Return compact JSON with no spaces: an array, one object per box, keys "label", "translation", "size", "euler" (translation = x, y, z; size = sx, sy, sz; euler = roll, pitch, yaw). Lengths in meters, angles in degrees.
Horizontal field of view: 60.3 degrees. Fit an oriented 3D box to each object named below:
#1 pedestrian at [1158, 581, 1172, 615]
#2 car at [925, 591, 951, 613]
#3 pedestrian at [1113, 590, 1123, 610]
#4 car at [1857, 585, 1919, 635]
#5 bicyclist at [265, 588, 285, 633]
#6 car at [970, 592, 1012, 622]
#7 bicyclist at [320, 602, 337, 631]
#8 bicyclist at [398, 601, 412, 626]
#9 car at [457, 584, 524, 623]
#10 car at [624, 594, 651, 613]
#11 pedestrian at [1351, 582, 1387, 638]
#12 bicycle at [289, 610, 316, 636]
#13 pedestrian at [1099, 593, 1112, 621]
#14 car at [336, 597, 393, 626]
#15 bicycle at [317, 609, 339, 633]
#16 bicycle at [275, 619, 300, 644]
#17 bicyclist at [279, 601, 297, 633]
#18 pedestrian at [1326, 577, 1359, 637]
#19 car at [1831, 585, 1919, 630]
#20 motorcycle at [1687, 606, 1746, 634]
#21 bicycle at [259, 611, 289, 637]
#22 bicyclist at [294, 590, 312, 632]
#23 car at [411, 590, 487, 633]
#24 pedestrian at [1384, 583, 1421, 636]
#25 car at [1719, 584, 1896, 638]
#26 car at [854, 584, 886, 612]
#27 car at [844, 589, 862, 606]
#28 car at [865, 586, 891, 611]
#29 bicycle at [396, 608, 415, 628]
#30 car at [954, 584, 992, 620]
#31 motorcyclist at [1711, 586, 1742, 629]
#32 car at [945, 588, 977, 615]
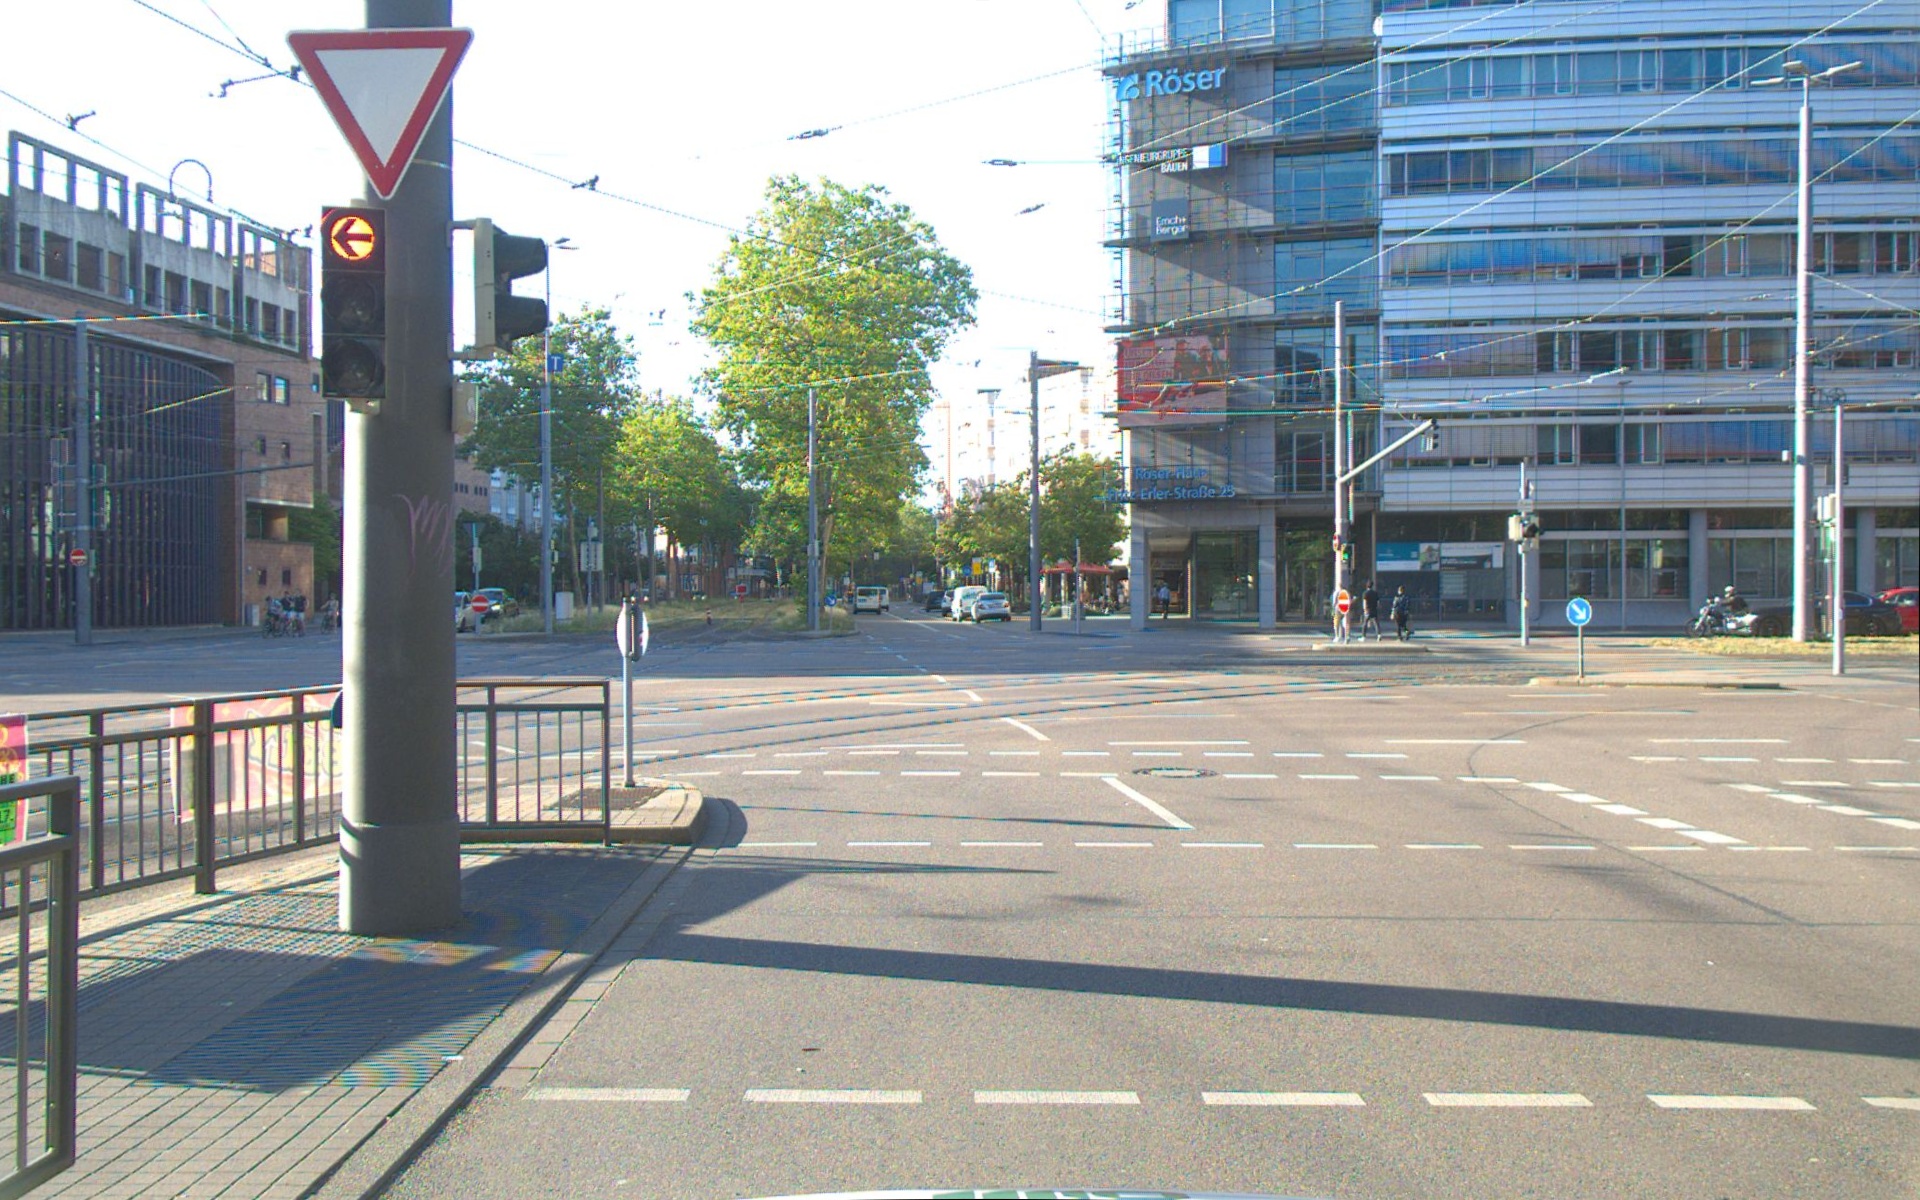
[{"label":"pedestrian","translation":[9.390,-0.086,75.682],"size":[0.599,1.534,0.579],"euler":[-1,0,10]},{"label":"car","translation":[-1.678,0.129,126.637],"size":[1.953,1.646,3.999],"euler":[-1,0,-1]},{"label":"pedestrian","translation":[10.513,-0.015,110.157],"size":[0.565,1.311,0.910],"euler":[-1,0,-1]},{"label":"car","translation":[29.294,0.239,49.500],"size":[3.903,1.418,1.786],"euler":[-2,0,4]},{"label":"bicyclist","translation":[-26.827,0.400,64.772],"size":[0.525,1.761,0.581],"euler":[-1,0,-1]},{"label":"car","translation":[1.535,0.335,82.791],"size":[1.953,1.400,3.999],"euler":[-1,0,-1]},{"label":"bicyclist","translation":[-27.119,0.707,71.025],"size":[0.495,1.199,0.581],"euler":[-1,0,-1]},{"label":"bicyclist","translation":[-27.614,0.672,82.341],"size":[0.495,1.232,0.581],"euler":[-1,0,-1]},{"label":"car","translation":[-21.122,0.145,74.599],"size":[1.953,1.668,3.999],"euler":[-1,0,-2]},{"label":"car","translation":[-32.377,0.301,166.094],"size":[1.953,1.847,3.999],"euler":[-1,0,-1]},{"label":"pedestrian","translation":[12.714,0.311,51.423],"size":[0.893,1.714,1.035],"euler":[-1,0,4]},{"label":"bicycle","translation":[-25.924,0.914,65.220],"size":[0.463,0.980,1.575],"euler":[-1,0,-1]},{"label":"pedestrian","translation":[9.243,0.435,105.172],"size":[0.729,1.744,0.612],"euler":[-1,0,-1]},{"label":"car","translation":[-31.139,0.602,86.606],"size":[1.633,1.461,3.999],"euler":[-1,0,-2]},{"label":"bicycle","translation":[-27.128,0.895,70.998],"size":[0.442,0.980,1.347],"euler":[-1,0,-1]},{"label":"bicycle","translation":[-27.704,1.281,68.146],"size":[0.458,0.980,1.320],"euler":[-1,0,-1]},{"label":"bicyclist","translation":[-27.685,0.703,68.122],"size":[0.495,1.327,0.581],"euler":[-1,0,-1]},{"label":"pedestrian","translation":[11.673,0.208,50.466],"size":[0.845,1.820,0.872],"euler":[-1,0,6]},{"label":"car","translation":[31.366,0.237,54.809],"size":[4.070,1.423,1.786],"euler":[-1,0,4]},{"label":"motorcycle","translation":[22.827,0.607,49.933],"size":[1.535,0.824,0.467],"euler":[-1,0,3]},{"label":"bicycle","translation":[-26.826,0.938,64.685],"size":[0.531,0.980,1.586],"euler":[-1,0,-1]},{"label":"bicyclist","translation":[-25.904,0.440,65.212],"size":[0.449,1.631,0.581],"euler":[-1,0,-1]},{"label":"car","translation":[-20.669,0.445,67.040],"size":[1.953,1.668,3.999],"euler":[-1,0,-2]},{"label":"pedestrian","translation":[13.653,0.287,51.074],"size":[0.928,1.591,0.897],"euler":[-1,0,4]},{"label":"car","translation":[24.042,0.300,47.030],"size":[4.070,1.423,1.786],"euler":[-1,0,4]},{"label":"car","translation":[-6.168,-0.167,113.515],"size":[1.921,1.881,5.329],"euler":[-1,0,-1]},{"label":"car","translation":[-12.588,-0.298,194.917],"size":[1.953,2.049,3.999],"euler":[-1,0,-1]},{"label":"car","translation":[-6.536,-0.153,132.606],"size":[1.953,1.945,3.999],"euler":[-1,0,-1]},{"label":"bicycle","translation":[-27.613,0.881,82.398],"size":[0.482,0.980,1.486],"euler":[-1,0,-1]},{"label":"car","translation":[0.687,0.115,89.577],"size":[1.953,1.892,3.999],"euler":[-1,0,-1]},{"label":"motorcyclist","translation":[23.108,0.220,49.861],"size":[0.697,1.298,0.460],"euler":[-1,0,3]},{"label":"car","translation":[0.036,0.069,105.214],"size":[1.953,1.646,3.999],"euler":[-1,0,-1]}]
